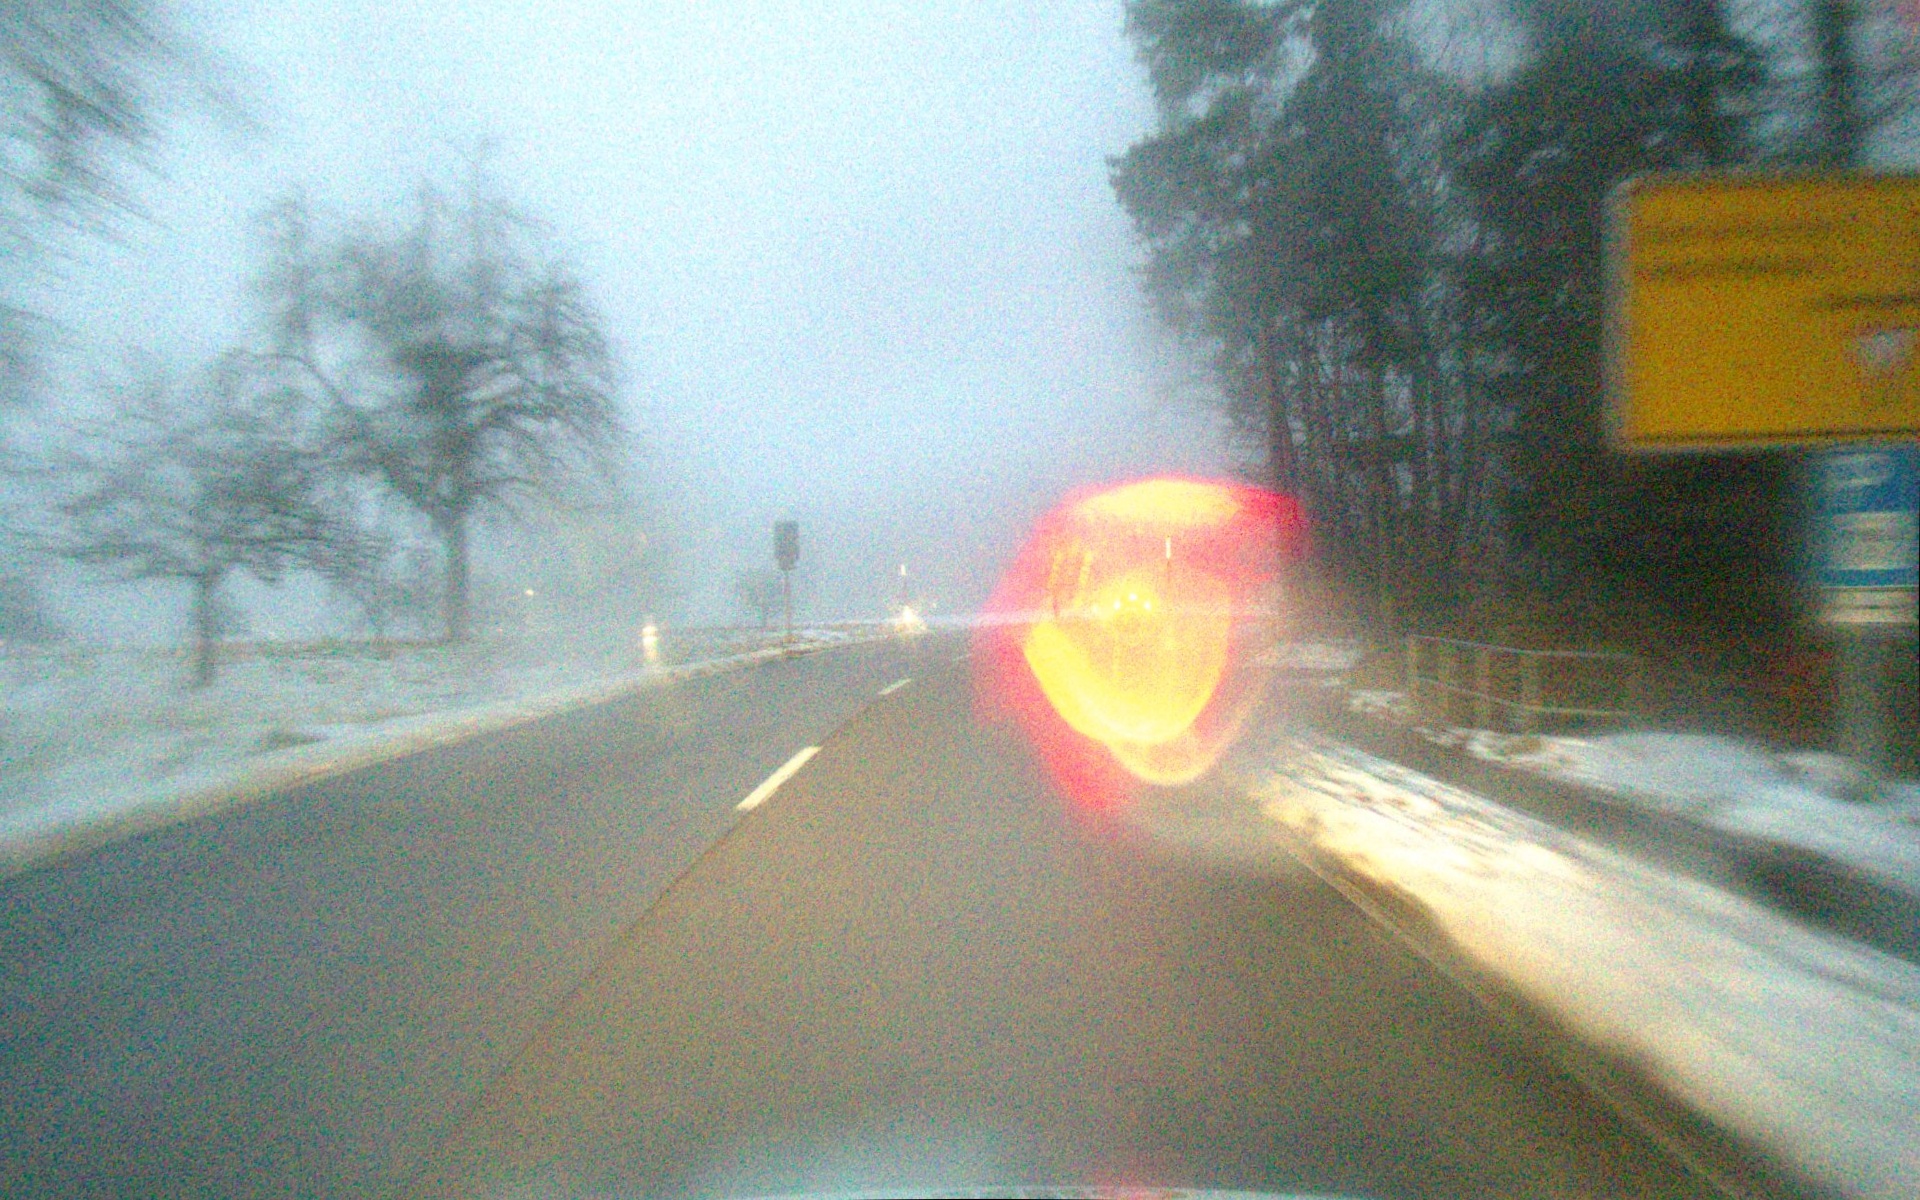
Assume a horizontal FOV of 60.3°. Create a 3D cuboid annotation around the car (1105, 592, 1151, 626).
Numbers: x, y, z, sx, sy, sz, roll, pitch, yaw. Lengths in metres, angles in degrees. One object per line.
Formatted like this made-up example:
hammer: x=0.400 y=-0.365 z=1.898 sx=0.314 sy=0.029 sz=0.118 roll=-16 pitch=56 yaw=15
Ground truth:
car: x=7.159 y=0.373 z=70.592 sx=1.881 sy=1.299 sz=4.003 roll=-1 pitch=1 yaw=5
